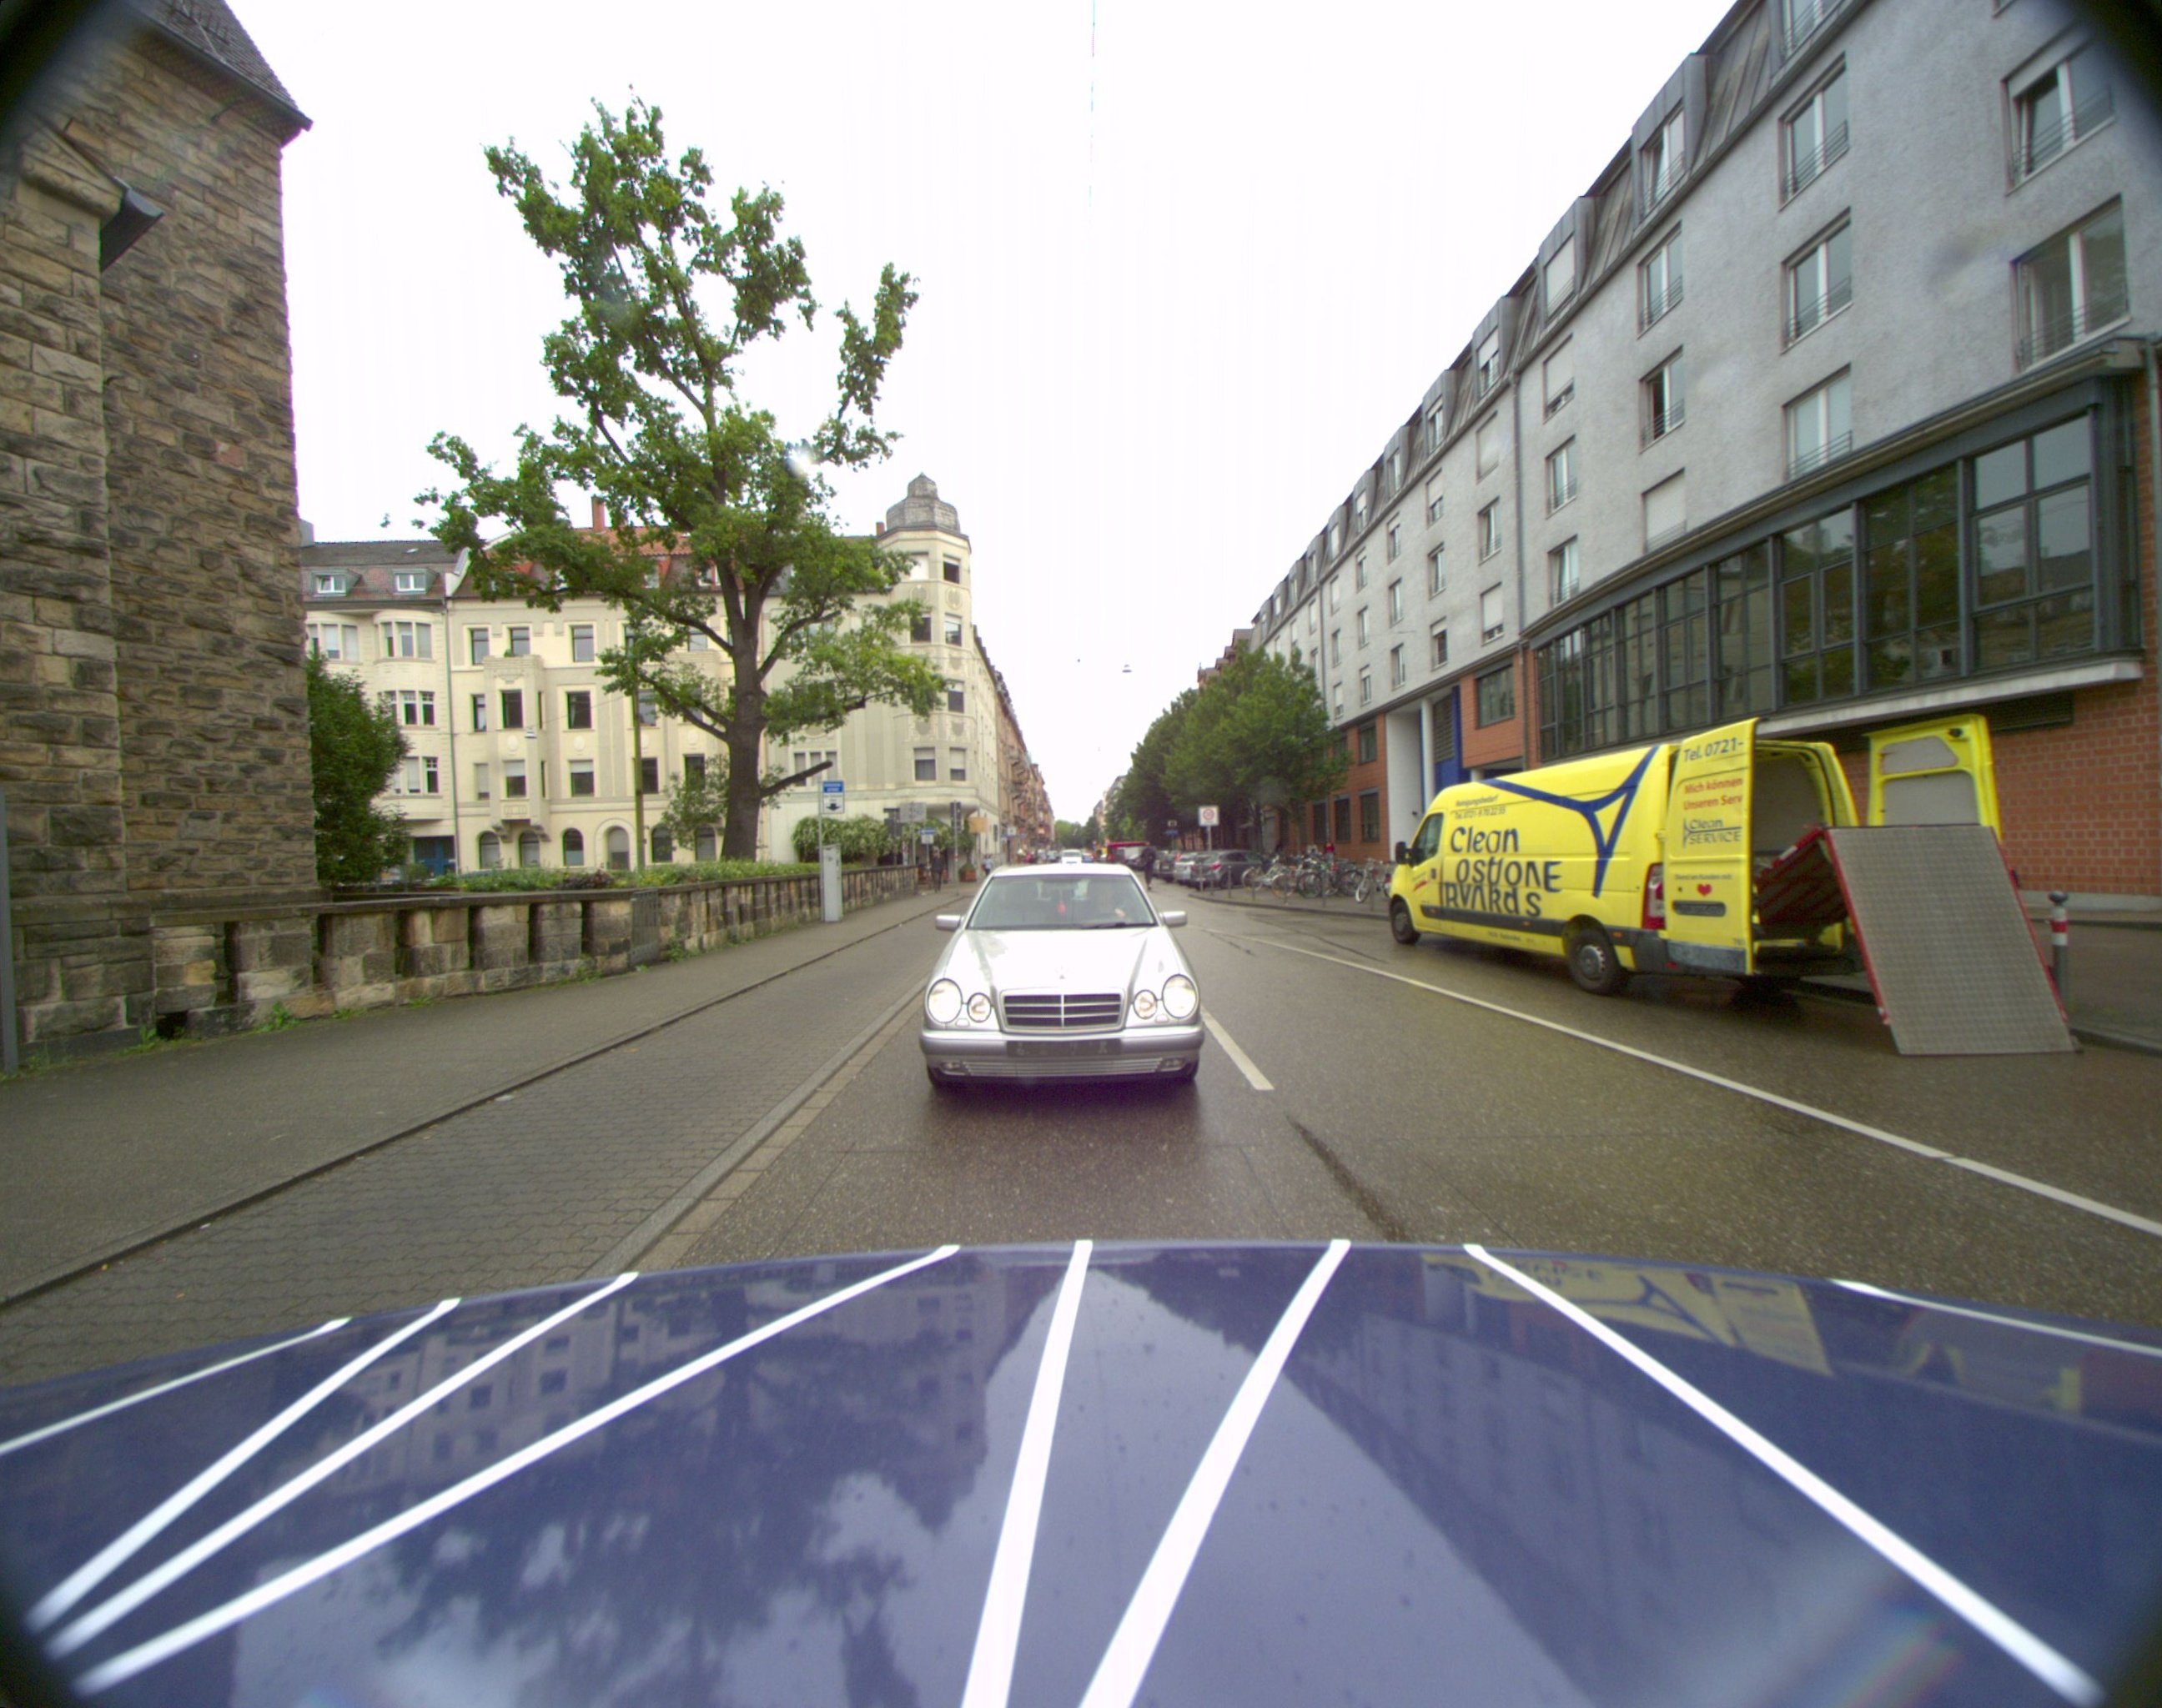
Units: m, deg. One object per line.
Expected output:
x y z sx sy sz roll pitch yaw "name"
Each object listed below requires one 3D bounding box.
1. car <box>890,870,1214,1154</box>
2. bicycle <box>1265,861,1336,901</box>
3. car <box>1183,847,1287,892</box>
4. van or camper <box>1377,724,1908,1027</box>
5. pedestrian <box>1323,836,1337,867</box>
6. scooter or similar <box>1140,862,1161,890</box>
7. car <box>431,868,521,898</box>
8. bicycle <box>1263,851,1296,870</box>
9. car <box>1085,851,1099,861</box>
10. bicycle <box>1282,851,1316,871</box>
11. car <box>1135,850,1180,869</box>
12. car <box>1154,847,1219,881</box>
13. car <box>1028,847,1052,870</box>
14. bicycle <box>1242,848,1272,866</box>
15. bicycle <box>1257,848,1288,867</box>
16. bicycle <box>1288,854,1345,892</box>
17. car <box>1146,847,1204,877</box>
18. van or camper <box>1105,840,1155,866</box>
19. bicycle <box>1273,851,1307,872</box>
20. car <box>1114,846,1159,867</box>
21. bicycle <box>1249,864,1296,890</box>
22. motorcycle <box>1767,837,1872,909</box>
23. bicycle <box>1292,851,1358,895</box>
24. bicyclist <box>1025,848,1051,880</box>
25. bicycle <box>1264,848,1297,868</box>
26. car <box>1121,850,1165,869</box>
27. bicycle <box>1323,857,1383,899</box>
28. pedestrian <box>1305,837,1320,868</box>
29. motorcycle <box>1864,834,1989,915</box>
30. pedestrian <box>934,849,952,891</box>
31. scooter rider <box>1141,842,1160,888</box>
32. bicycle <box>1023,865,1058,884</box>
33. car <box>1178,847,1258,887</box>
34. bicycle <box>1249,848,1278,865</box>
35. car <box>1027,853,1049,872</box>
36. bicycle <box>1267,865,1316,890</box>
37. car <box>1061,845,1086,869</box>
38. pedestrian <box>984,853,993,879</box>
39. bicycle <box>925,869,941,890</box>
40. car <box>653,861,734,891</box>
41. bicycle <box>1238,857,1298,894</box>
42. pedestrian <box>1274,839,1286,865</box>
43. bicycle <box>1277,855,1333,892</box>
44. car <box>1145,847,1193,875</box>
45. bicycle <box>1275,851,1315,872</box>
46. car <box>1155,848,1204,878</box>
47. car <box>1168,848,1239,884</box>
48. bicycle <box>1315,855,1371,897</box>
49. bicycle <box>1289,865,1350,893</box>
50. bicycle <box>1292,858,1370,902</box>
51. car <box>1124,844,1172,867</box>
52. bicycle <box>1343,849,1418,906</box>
-0.159 0.922 6.222 1.764 1.420 3.999 -2 0 0 "car"
6.122 0.754 21.245 1.800 0.987 0.520 -3 1 -2 "bicycle"
5.908 0.542 29.053 3.629 1.494 1.736 -3 2 -31 "car"
6.048 0.169 9.569 2.202 2.596 5.941 -1 0 -1 "van or camper"
12.896 -0.135 39.362 0.514 1.601 0.425 -2 1 1 "pedestrian"
2.931 0.912 31.959 0.702 1.158 1.385 -1 1 -2 "scooter or similar"
-29.705 1.411 37.352 3.270 1.401 1.448 -1 1 3 "car"
10.458 0.342 40.018 1.590 0.979 0.445 -2 1 -8 "bicycle"
1.392 0.268 98.293 1.651 1.301 3.311 -1 0 -3 "car"
11.090 0.359 38.647 1.590 0.979 0.445 -2 1 -8 "bicycle"
6.119 0.416 60.406 1.685 1.482 3.799 0 1 40 "car"
5.231 0.489 37.472 3.084 1.543 1.449 -3 1 -40 "car"
-3.319 0.315 61.501 1.726 1.794 3.462 -1 0 0 "car"
10.198 0.164 44.076 1.590 0.979 0.465 -2 1 -8 "bicycle"
10.551 0.196 41.802 1.590 0.979 0.465 -2 1 -8 "bicycle"
7.366 0.586 23.792 1.611 1.099 0.519 -3 1 -13 "bicycle"
5.351 0.459 43.213 2.985 1.546 1.369 -3 1 -29 "car"
4.953 -0.126 76.586 4.604 2.597 1.999 -1 1 -27 "van or camper"
10.466 0.379 38.103 1.590 0.979 0.445 -2 1 -8 "bicycle"
5.178 0.222 70.665 4.338 1.822 1.571 -1 1 -41 "car"
6.552 0.791 26.008 1.473 0.800 0.497 -3 1 3 "bicycle"
13.060 0.294 13.510 0.524 1.174 2.006 -2 1 19 "motorcycle"
7.247 0.564 22.544 1.815 1.187 0.519 -3 1 -13 "bicycle"
-2.094 0.503 37.239 1.137 1.521 0.535 -2 1 -45 "bicyclist"
10.668 0.214 40.637 1.590 0.979 0.445 -2 1 -8 "bicycle"
5.180 0.445 62.922 1.685 1.482 3.799 0 1 40 "car"
7.485 0.651 20.913 1.462 1.058 0.418 -3 1 4 "bicycle"
12.063 -0.095 39.633 0.605 1.601 0.372 -2 1 -1 "pedestrian"
13.272 0.289 11.995 0.524 1.174 1.760 -2 1 19 "motorcycle"
-6.137 0.694 33.730 0.646 1.862 0.693 -1 1 0 "pedestrian"
2.921 0.446 31.954 0.712 1.924 0.503 -1 1 -2 "scooter rider"
-1.978 0.994 37.347 1.784 0.879 0.535 -2 1 -45 "bicycle"
5.783 0.542 31.980 3.083 1.494 1.449 -3 1 -31 "car"
10.783 0.136 44.972 1.590 0.979 0.465 -2 1 -8 "bicycle"
-3.148 0.634 56.433 1.447 1.348 3.204 -1 0 0 "car"
7.032 0.784 25.380 1.473 0.717 0.497 -3 1 3 "bicycle"
-0.619 0.259 66.024 1.998 2.002 4.000 -1 1 1 "car"
-5.169 0.679 42.455 0.482 1.452 0.392 -1 1 -1 "pedestrian"
-7.321 1.238 37.666 0.390 0.888 2.023 -1 3 0 "bicycle"
-19.265 1.081 37.869 3.270 1.401 1.448 -1 1 3 "car"
6.120 0.688 24.932 1.812 1.099 0.472 -3 1 -5 "bicycle"
12.397 -0.151 47.344 0.571 1.588 0.533 -2 1 1 "pedestrian"
7.202 0.610 24.437 1.610 1.099 0.520 -3 1 -5 "bicycle"
5.322 0.422 45.970 2.685 1.546 1.148 -3 1 -29 "car"
10.595 0.385 37.630 1.851 0.979 0.445 -2 1 -8 "bicycle"
5.303 0.482 40.705 2.506 1.442 1.191 -3 1 -40 "car"
5.593 0.534 34.588 3.084 1.494 1.449 -3 1 -40 "car"
7.464 0.629 21.687 1.461 1.096 0.462 -3 1 14 "bicycle"
7.263 0.755 23.135 1.773 0.757 0.456 -3 1 -13 "bicycle"
6.699 0.685 20.407 1.858 1.067 0.609 -3 1 5 "bicycle"
5.968 0.122 67.153 4.338 1.884 1.685 -1 1 -41 "car"
7.518 0.566 19.016 1.922 1.209 0.768 -6 3 -35 "bicycle"
